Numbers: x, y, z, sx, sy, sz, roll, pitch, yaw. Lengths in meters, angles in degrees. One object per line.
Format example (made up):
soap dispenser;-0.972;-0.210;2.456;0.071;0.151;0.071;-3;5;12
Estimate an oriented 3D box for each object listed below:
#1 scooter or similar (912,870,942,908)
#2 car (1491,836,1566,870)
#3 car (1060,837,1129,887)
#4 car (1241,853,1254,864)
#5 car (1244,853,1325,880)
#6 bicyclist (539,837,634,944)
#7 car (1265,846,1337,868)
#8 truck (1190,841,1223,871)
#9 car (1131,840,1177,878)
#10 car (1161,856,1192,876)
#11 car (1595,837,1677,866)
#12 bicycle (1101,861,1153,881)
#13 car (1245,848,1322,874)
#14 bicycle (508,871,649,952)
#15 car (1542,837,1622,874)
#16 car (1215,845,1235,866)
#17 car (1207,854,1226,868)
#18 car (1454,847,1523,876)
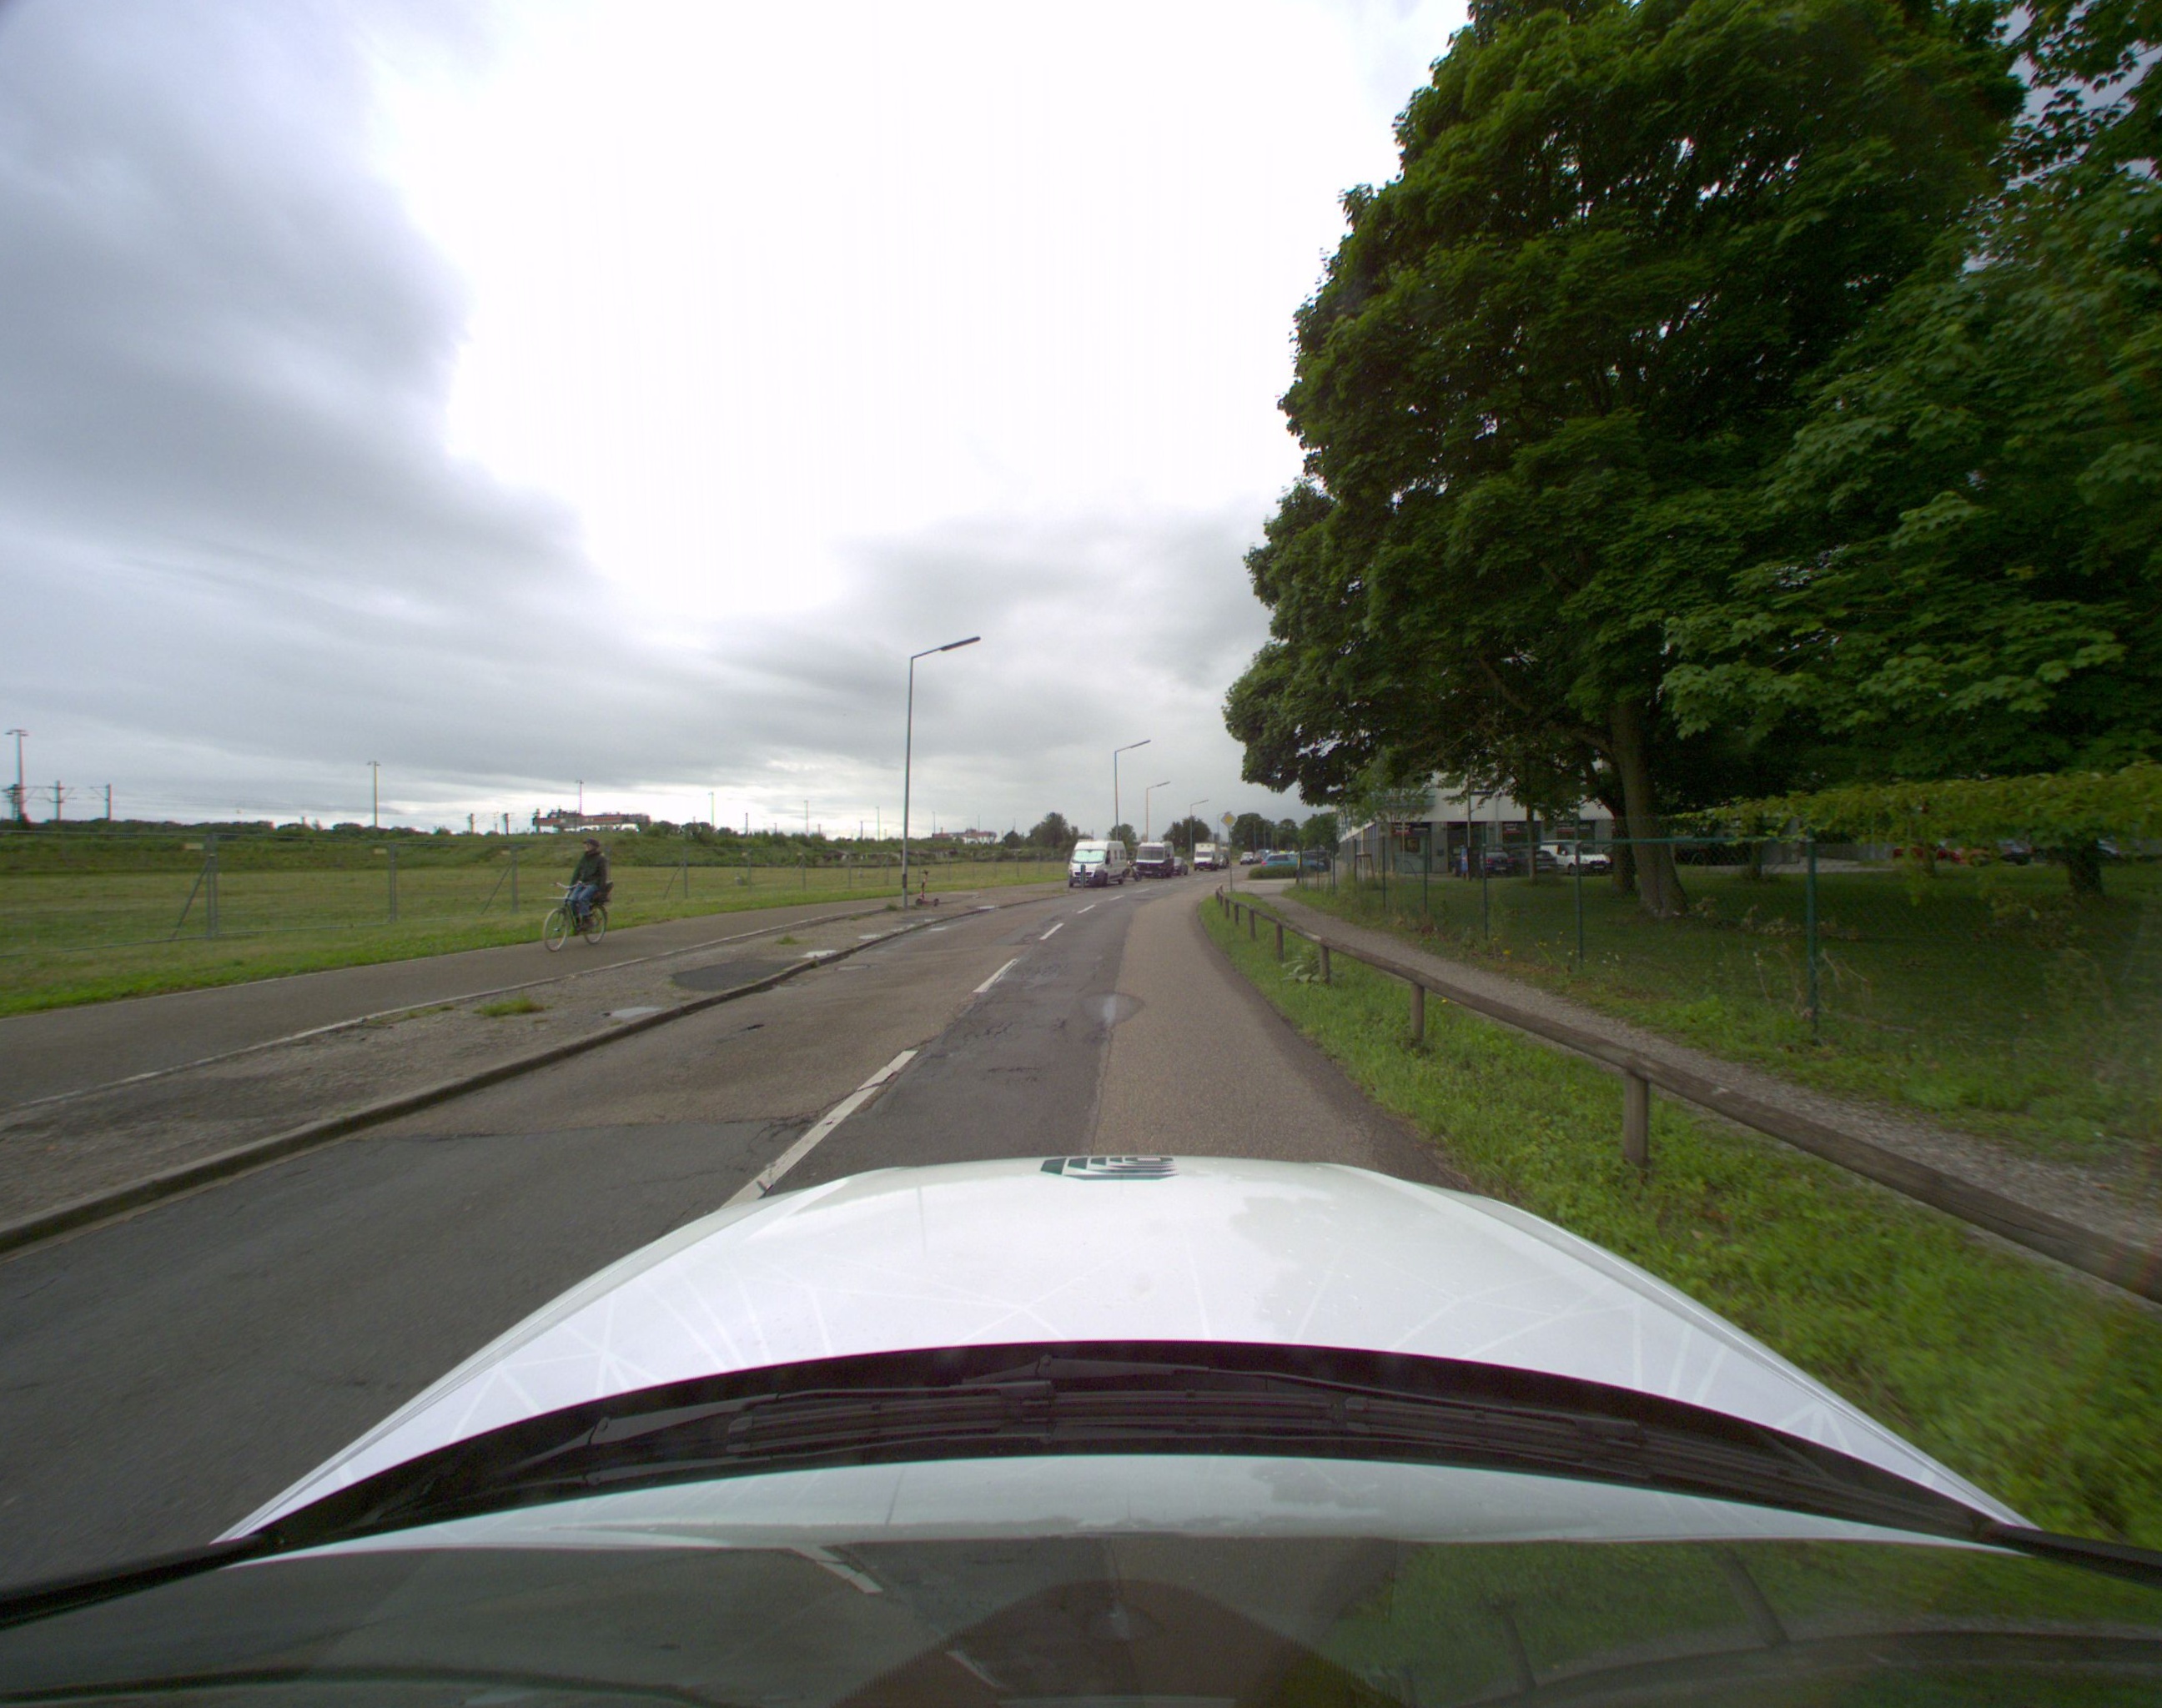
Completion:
scooter or similar;-5.171;1.150;27.440;0.606;1.183;1.703;1;0;2
car;23.573;-0.047;43.046;1.847;1.699;3.957;-1;0;1
car;0.861;0.379;44.723;2.272;2.555;6.435;-1;0;14
car;26.673;0.697;130.679;1.636;1.662;3.593;0;1;19
car;12.744;0.760;50.913;4.824;1.616;1.850;0;1;15
bicyclist;-8.796;0.611;14.541;0.824;1.821;1.331;-1;1;2
car;15.663;0.217;58.050;4.824;1.500;1.850;0;1;15
truck;13.529;0.165;87.512;2.443;3.060;8.197;-1;0;16
car;5.560;0.308;60.997;2.283;2.734;6.118;0;1;16
car;7.938;0.940;67.271;1.765;1.504;4.018;-1;0;17
car;29.208;-0.114;43.007;1.816;1.431;3.773;-1;0;1
bicycle;2.976;1.095;52.541;3.097;1.199;1.370;0;1;15
car;13.266;0.438;53.328;4.824;1.662;1.850;0;1;15
bicycle;-8.809;0.964;14.464;0.815;1.204;2.559;-1;1;2
car;26.190;0.078;42.728;1.790;1.830;4.002;-1;0;2
car;18.520;0.200;104.498;1.989;2.574;4.807;-1;0;16
car;16.198;0.797;97.054;1.741;1.525;4.017;-1;0;16
car;21.326;0.381;42.780;1.816;1.431;3.773;-1;0;1
